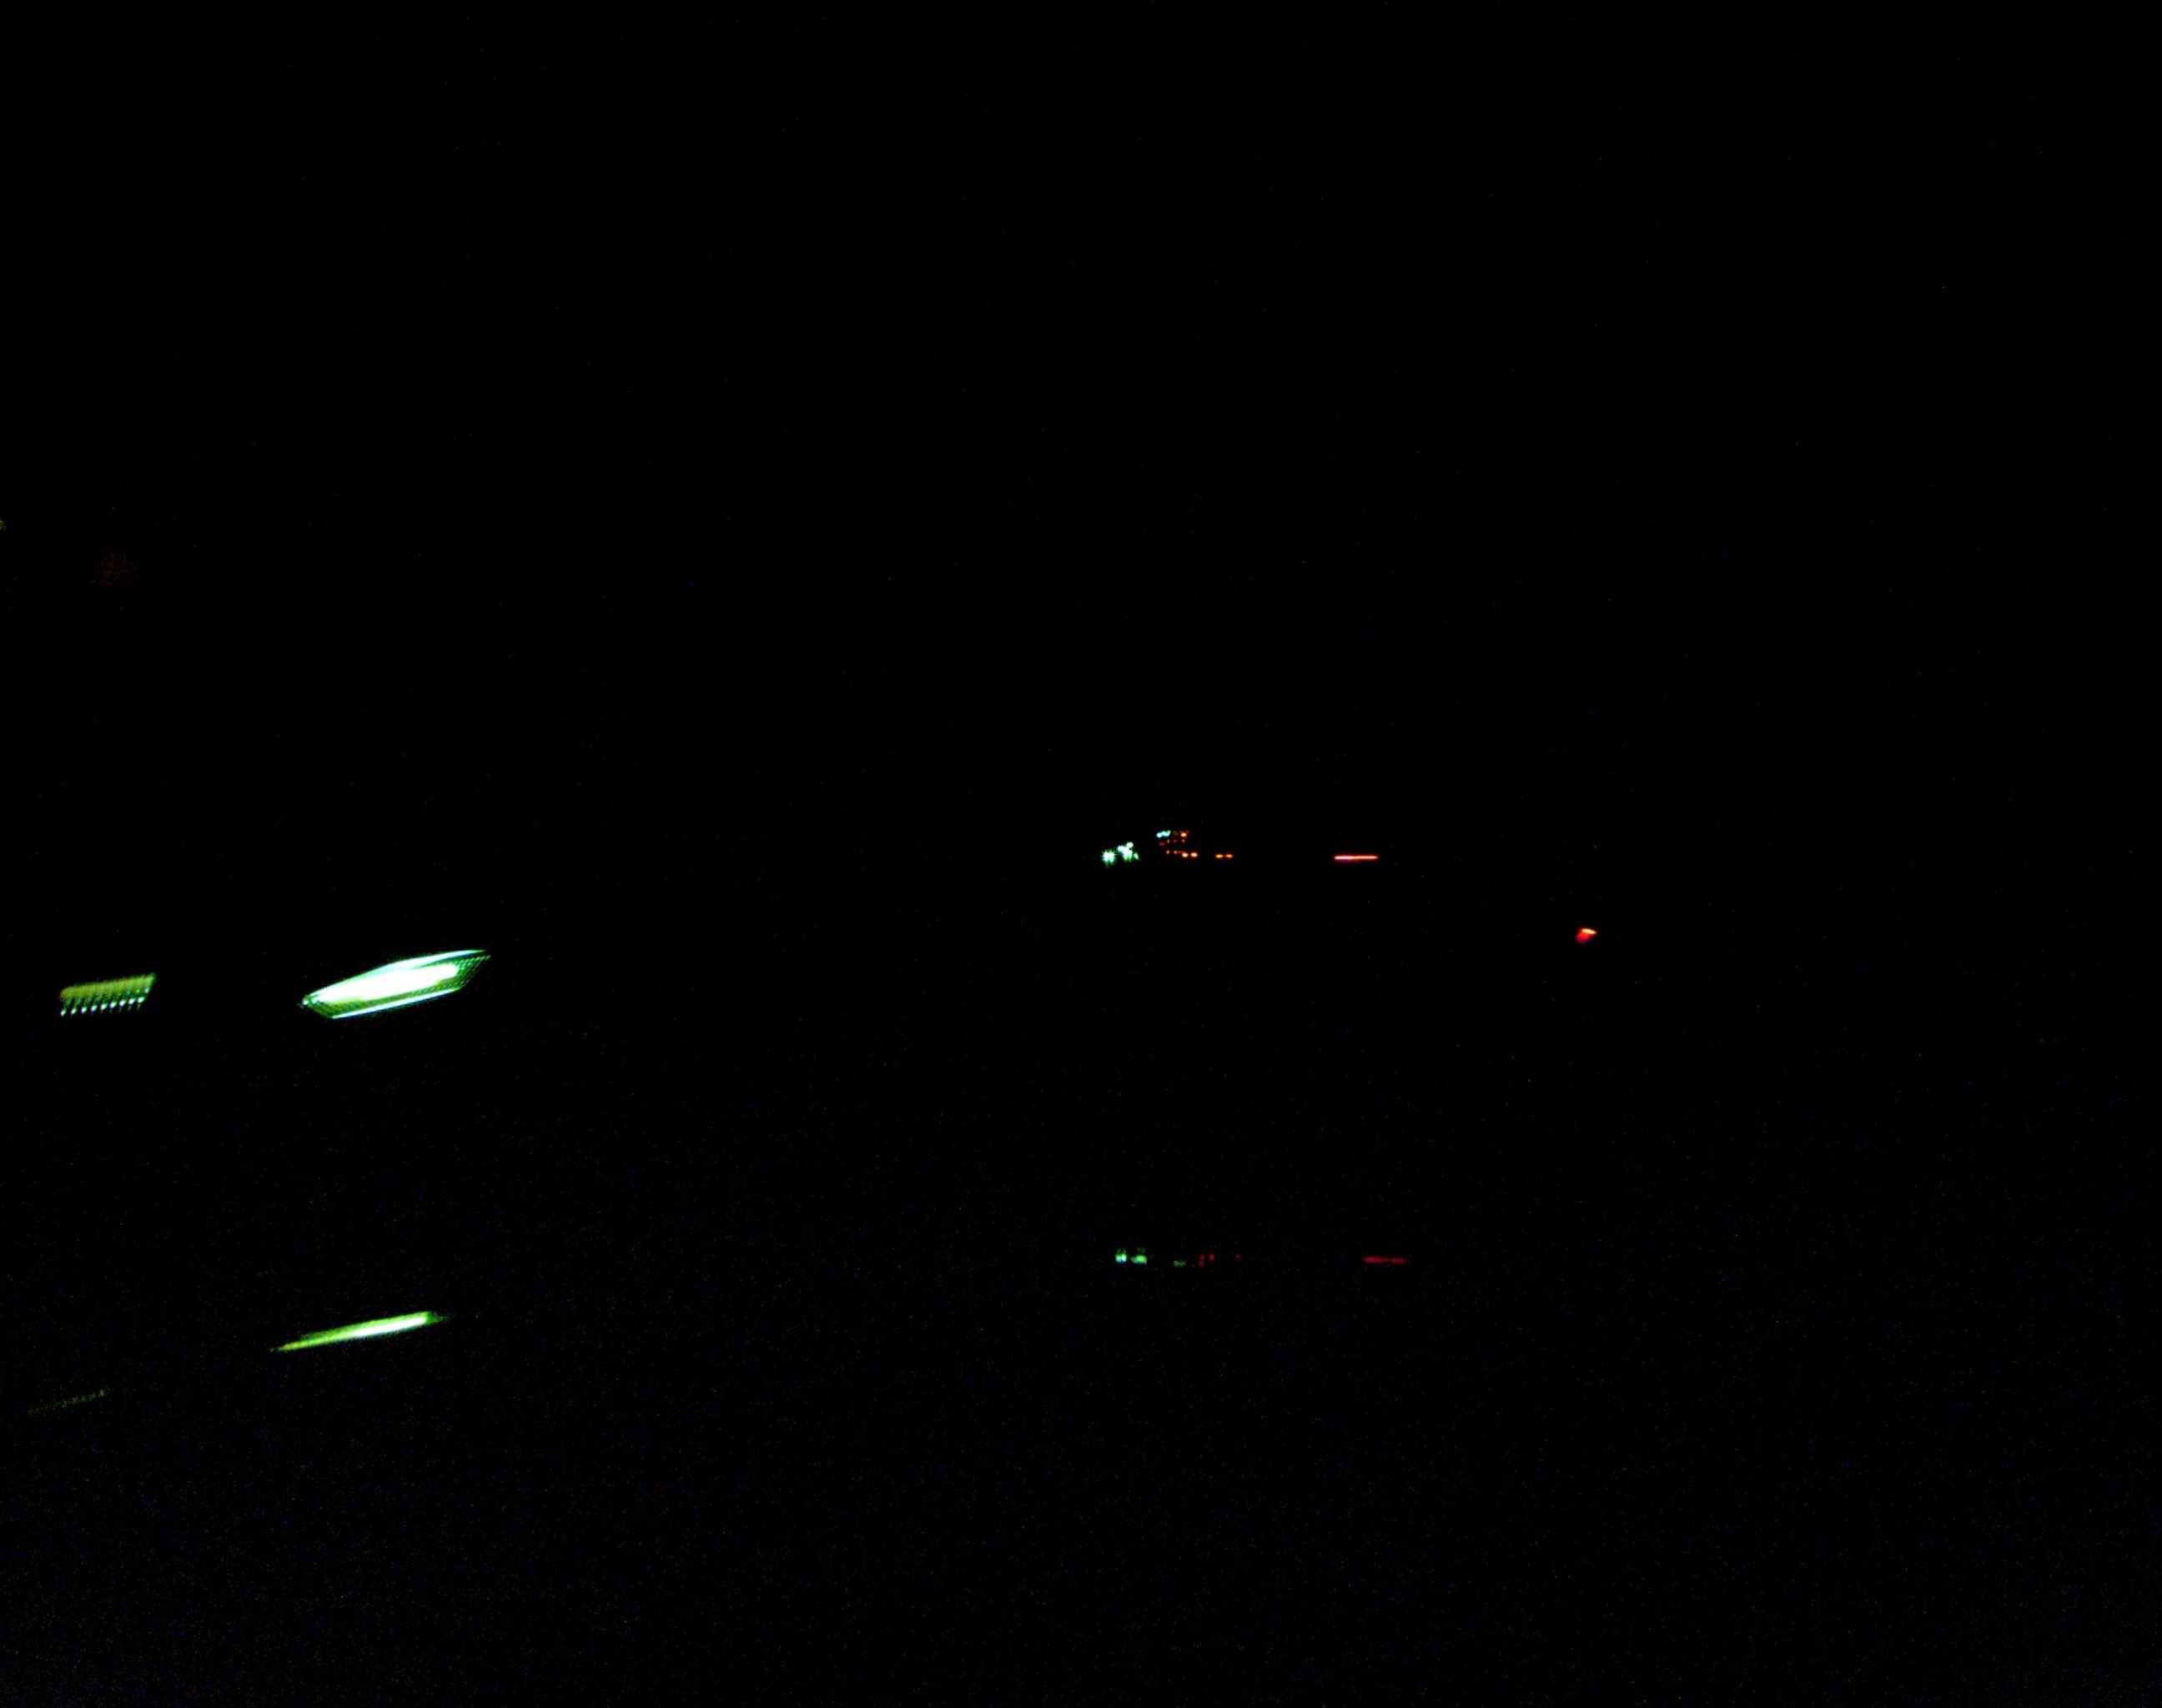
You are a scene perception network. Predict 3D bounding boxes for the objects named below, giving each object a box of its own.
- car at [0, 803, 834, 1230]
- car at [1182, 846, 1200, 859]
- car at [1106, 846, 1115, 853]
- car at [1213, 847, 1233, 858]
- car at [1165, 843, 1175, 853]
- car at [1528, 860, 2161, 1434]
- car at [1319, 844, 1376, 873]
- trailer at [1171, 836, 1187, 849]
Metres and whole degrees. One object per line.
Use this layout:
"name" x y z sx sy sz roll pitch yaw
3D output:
"car" -4.158 0.749 6.455 2.121 1.989 5.663 -2 1 1
"car" 15.168 -0.225 105.140 2.015 1.660 4.483 -2 0 2
"car" 8.090 -1.275 208.841 1.999 1.762 3.998 -2 2 -1
"car" 18.832 -0.218 101.191 2.015 1.459 4.209 -2 0 3
"car" 22.828 -1.615 195.117 2.106 2.503 6.216 -2 0 2
"car" 3.974 0.815 2.377 1.998 1.509 5.652 -2 0 3
"car" 16.792 0.245 48.070 2.015 1.660 4.949 -2 0 2
"trailer" 29.453 -3.472 229.023 3.438 3.957 13.811 -2 1 2
